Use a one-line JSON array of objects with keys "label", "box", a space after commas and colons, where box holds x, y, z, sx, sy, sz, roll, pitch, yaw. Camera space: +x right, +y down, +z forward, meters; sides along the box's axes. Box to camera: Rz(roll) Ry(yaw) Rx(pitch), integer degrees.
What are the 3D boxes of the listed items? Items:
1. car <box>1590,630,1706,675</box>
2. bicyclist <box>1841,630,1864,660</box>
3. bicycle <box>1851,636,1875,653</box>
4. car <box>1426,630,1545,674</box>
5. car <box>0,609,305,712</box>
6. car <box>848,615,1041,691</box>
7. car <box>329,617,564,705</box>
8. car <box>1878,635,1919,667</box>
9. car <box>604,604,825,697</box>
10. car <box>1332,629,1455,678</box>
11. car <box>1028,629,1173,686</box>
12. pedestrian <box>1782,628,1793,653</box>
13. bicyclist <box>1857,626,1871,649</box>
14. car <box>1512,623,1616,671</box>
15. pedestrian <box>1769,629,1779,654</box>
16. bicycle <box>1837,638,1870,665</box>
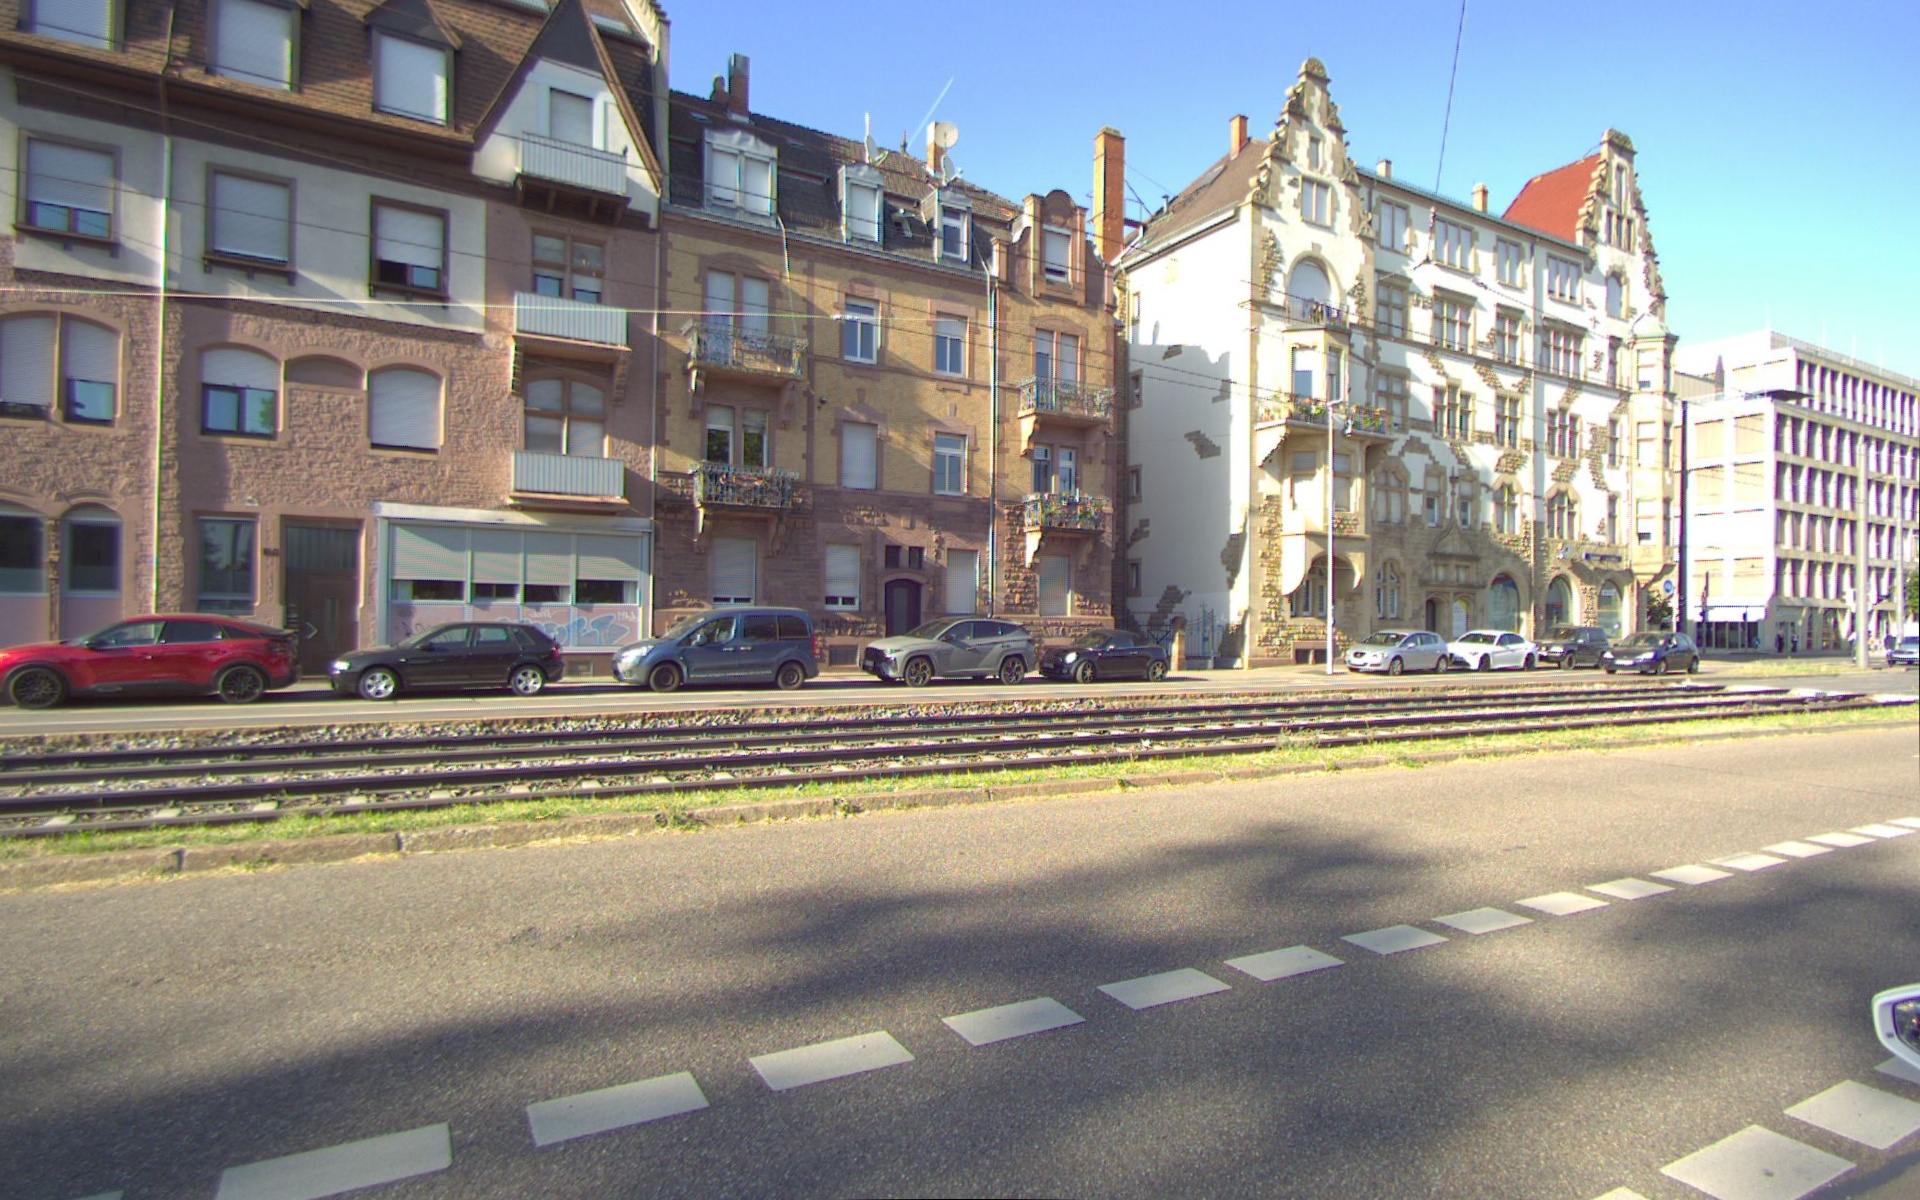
[{"label": "car", "box": [23.538, 1.771, 34.338, 4.120, 1.476, 1.810, 2, -2, -32]}, {"label": "bicyclist", "box": [47.347, 2.393, 53.280, 0.775, 1.583, 0.682, 1, -2, -28]}, {"label": "bicycle", "box": [67.186, 3.329, 74.701, 2.359, 1.231, 0.573, 1, -2, -28]}, {"label": "car", "box": [19.230, 1.852, 36.708, 4.603, 1.442, 1.708, 1, 1, -32]}, {"label": "car", "box": [-13.872, 0.990, 17.363, 4.162, 1.519, 1.846, 1, 2, -31]}, {"label": "car", "box": [-0.346, 1.274, 24.953, 4.451, 1.644, 1.846, 1, 2, -31]}, {"label": "car", "box": [-9.845, 1.122, 19.392, 3.882, 1.457, 1.686, 1, 2, -31]}, {"label": "car", "box": [47.311, 2.502, 49.554, 4.489, 1.476, 1.811, 2, -2, -31]}, {"label": "car", "box": [-5.362, 1.063, 22.010, 4.361, 1.782, 1.878, 1, 1, -28]}, {"label": "car", "box": [14.550, 1.751, 33.681, 4.177, 1.450, 1.700, 1, 1, -32]}, {"label": "car", "box": [3.842, 1.527, 27.310, 3.683, 1.373, 1.614, 1, 2, -31]}, {"label": "pedestrian", "box": [62.154, 3.074, 75.415, 0.522, 1.868, 0.443, 0, -2, 23]}, {"label": "bicyclist", "box": [67.364, 2.823, 74.824, 0.635, 1.708, 0.573, 1, -2, -28]}, {"label": "car", "box": [23.712, 1.816, 39.402, 4.169, 1.698, 1.708, 1, 1, -32]}, {"label": "pedestrian", "box": [61.303, 3.097, 75.674, 0.464, 1.868, 0.443, 0, -2, 23]}, {"label": "bicycle", "box": [47.412, 2.716, 53.295, 1.923, 1.400, 0.682, 1, -2, -29]}]
